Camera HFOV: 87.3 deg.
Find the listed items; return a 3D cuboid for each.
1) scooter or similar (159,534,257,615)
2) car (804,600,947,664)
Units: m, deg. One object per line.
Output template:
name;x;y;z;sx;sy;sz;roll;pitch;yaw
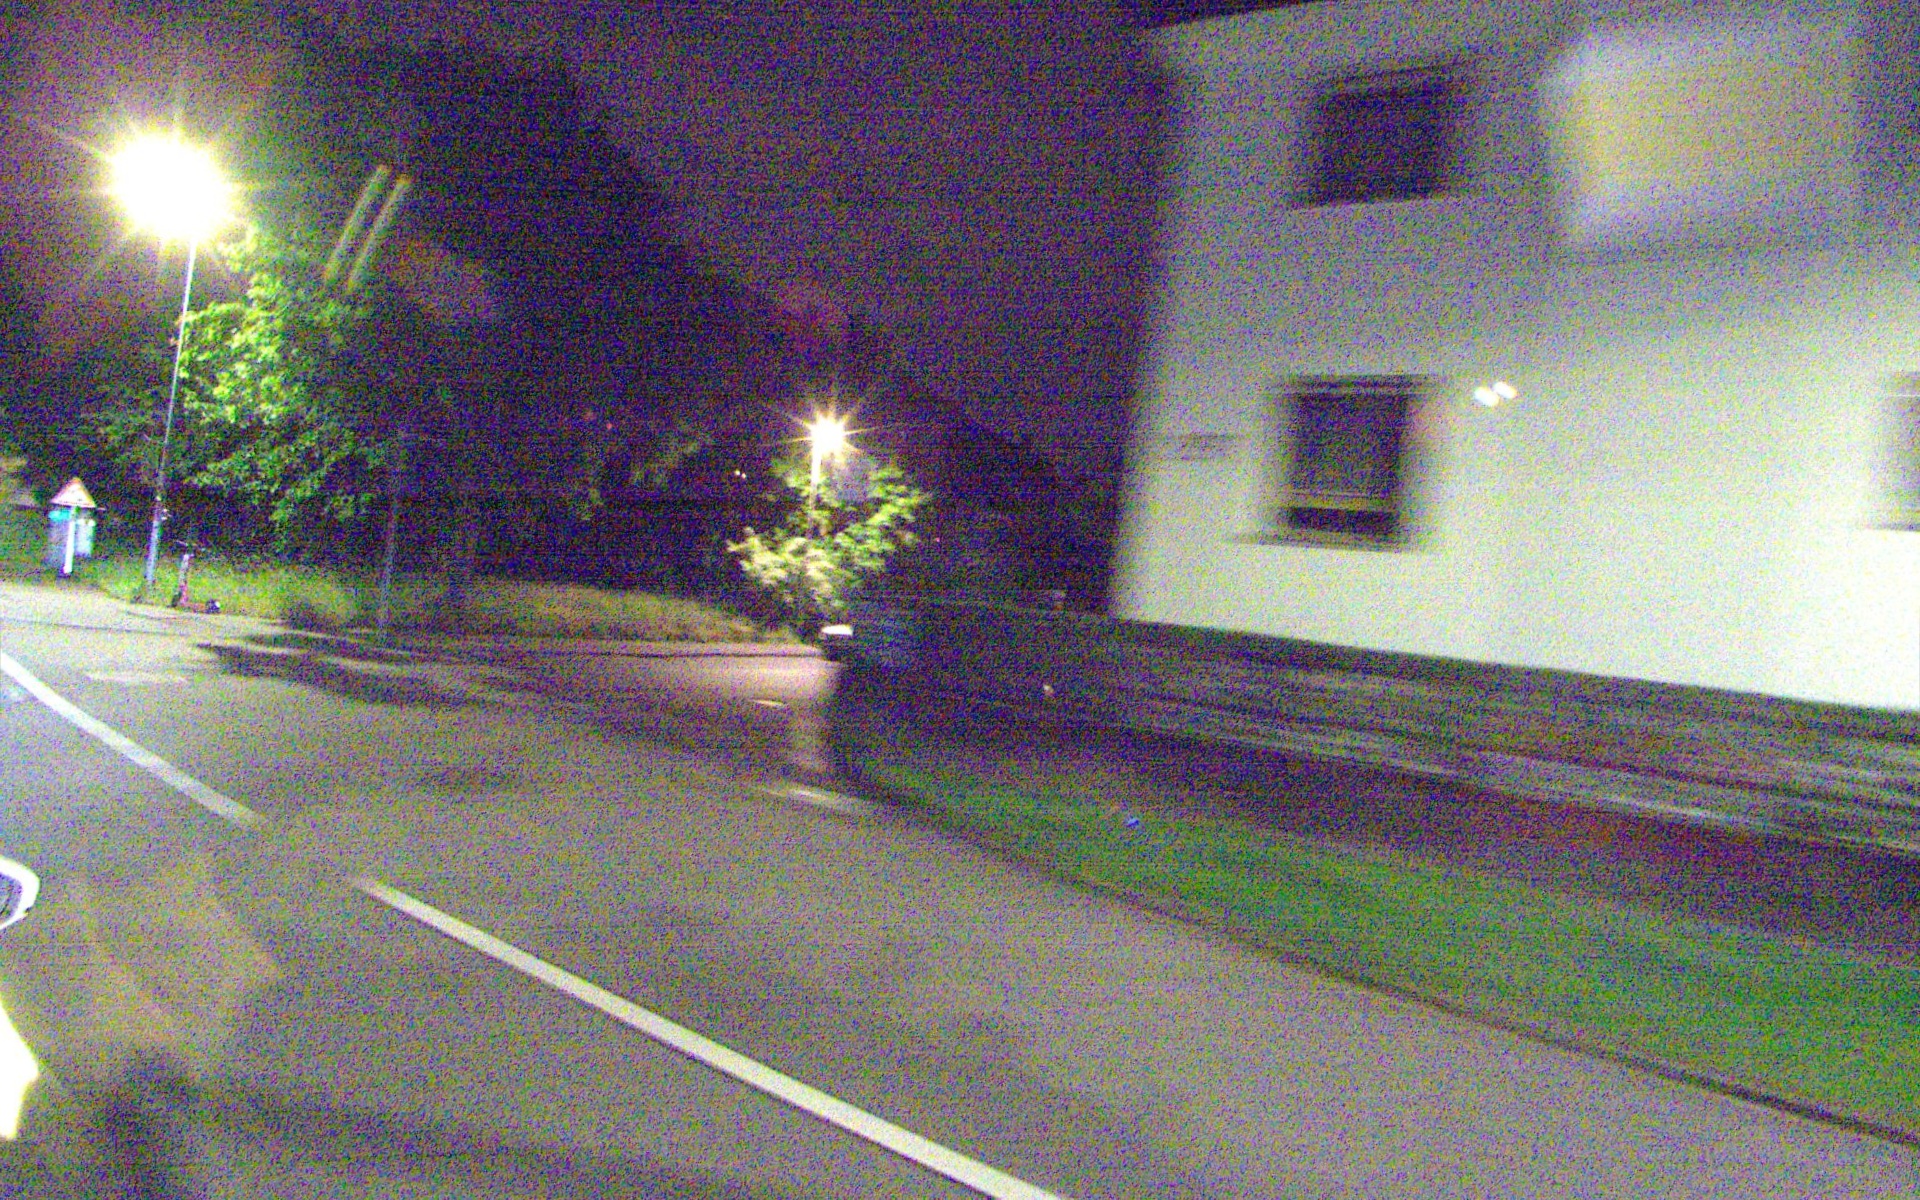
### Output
scooter or similar;-13.981;-0.471;18.702;1.660;1.296;0.613;7;-1;25
car;-2.194;0.908;27.163;1.913;1.471;3.893;5;-1;29
